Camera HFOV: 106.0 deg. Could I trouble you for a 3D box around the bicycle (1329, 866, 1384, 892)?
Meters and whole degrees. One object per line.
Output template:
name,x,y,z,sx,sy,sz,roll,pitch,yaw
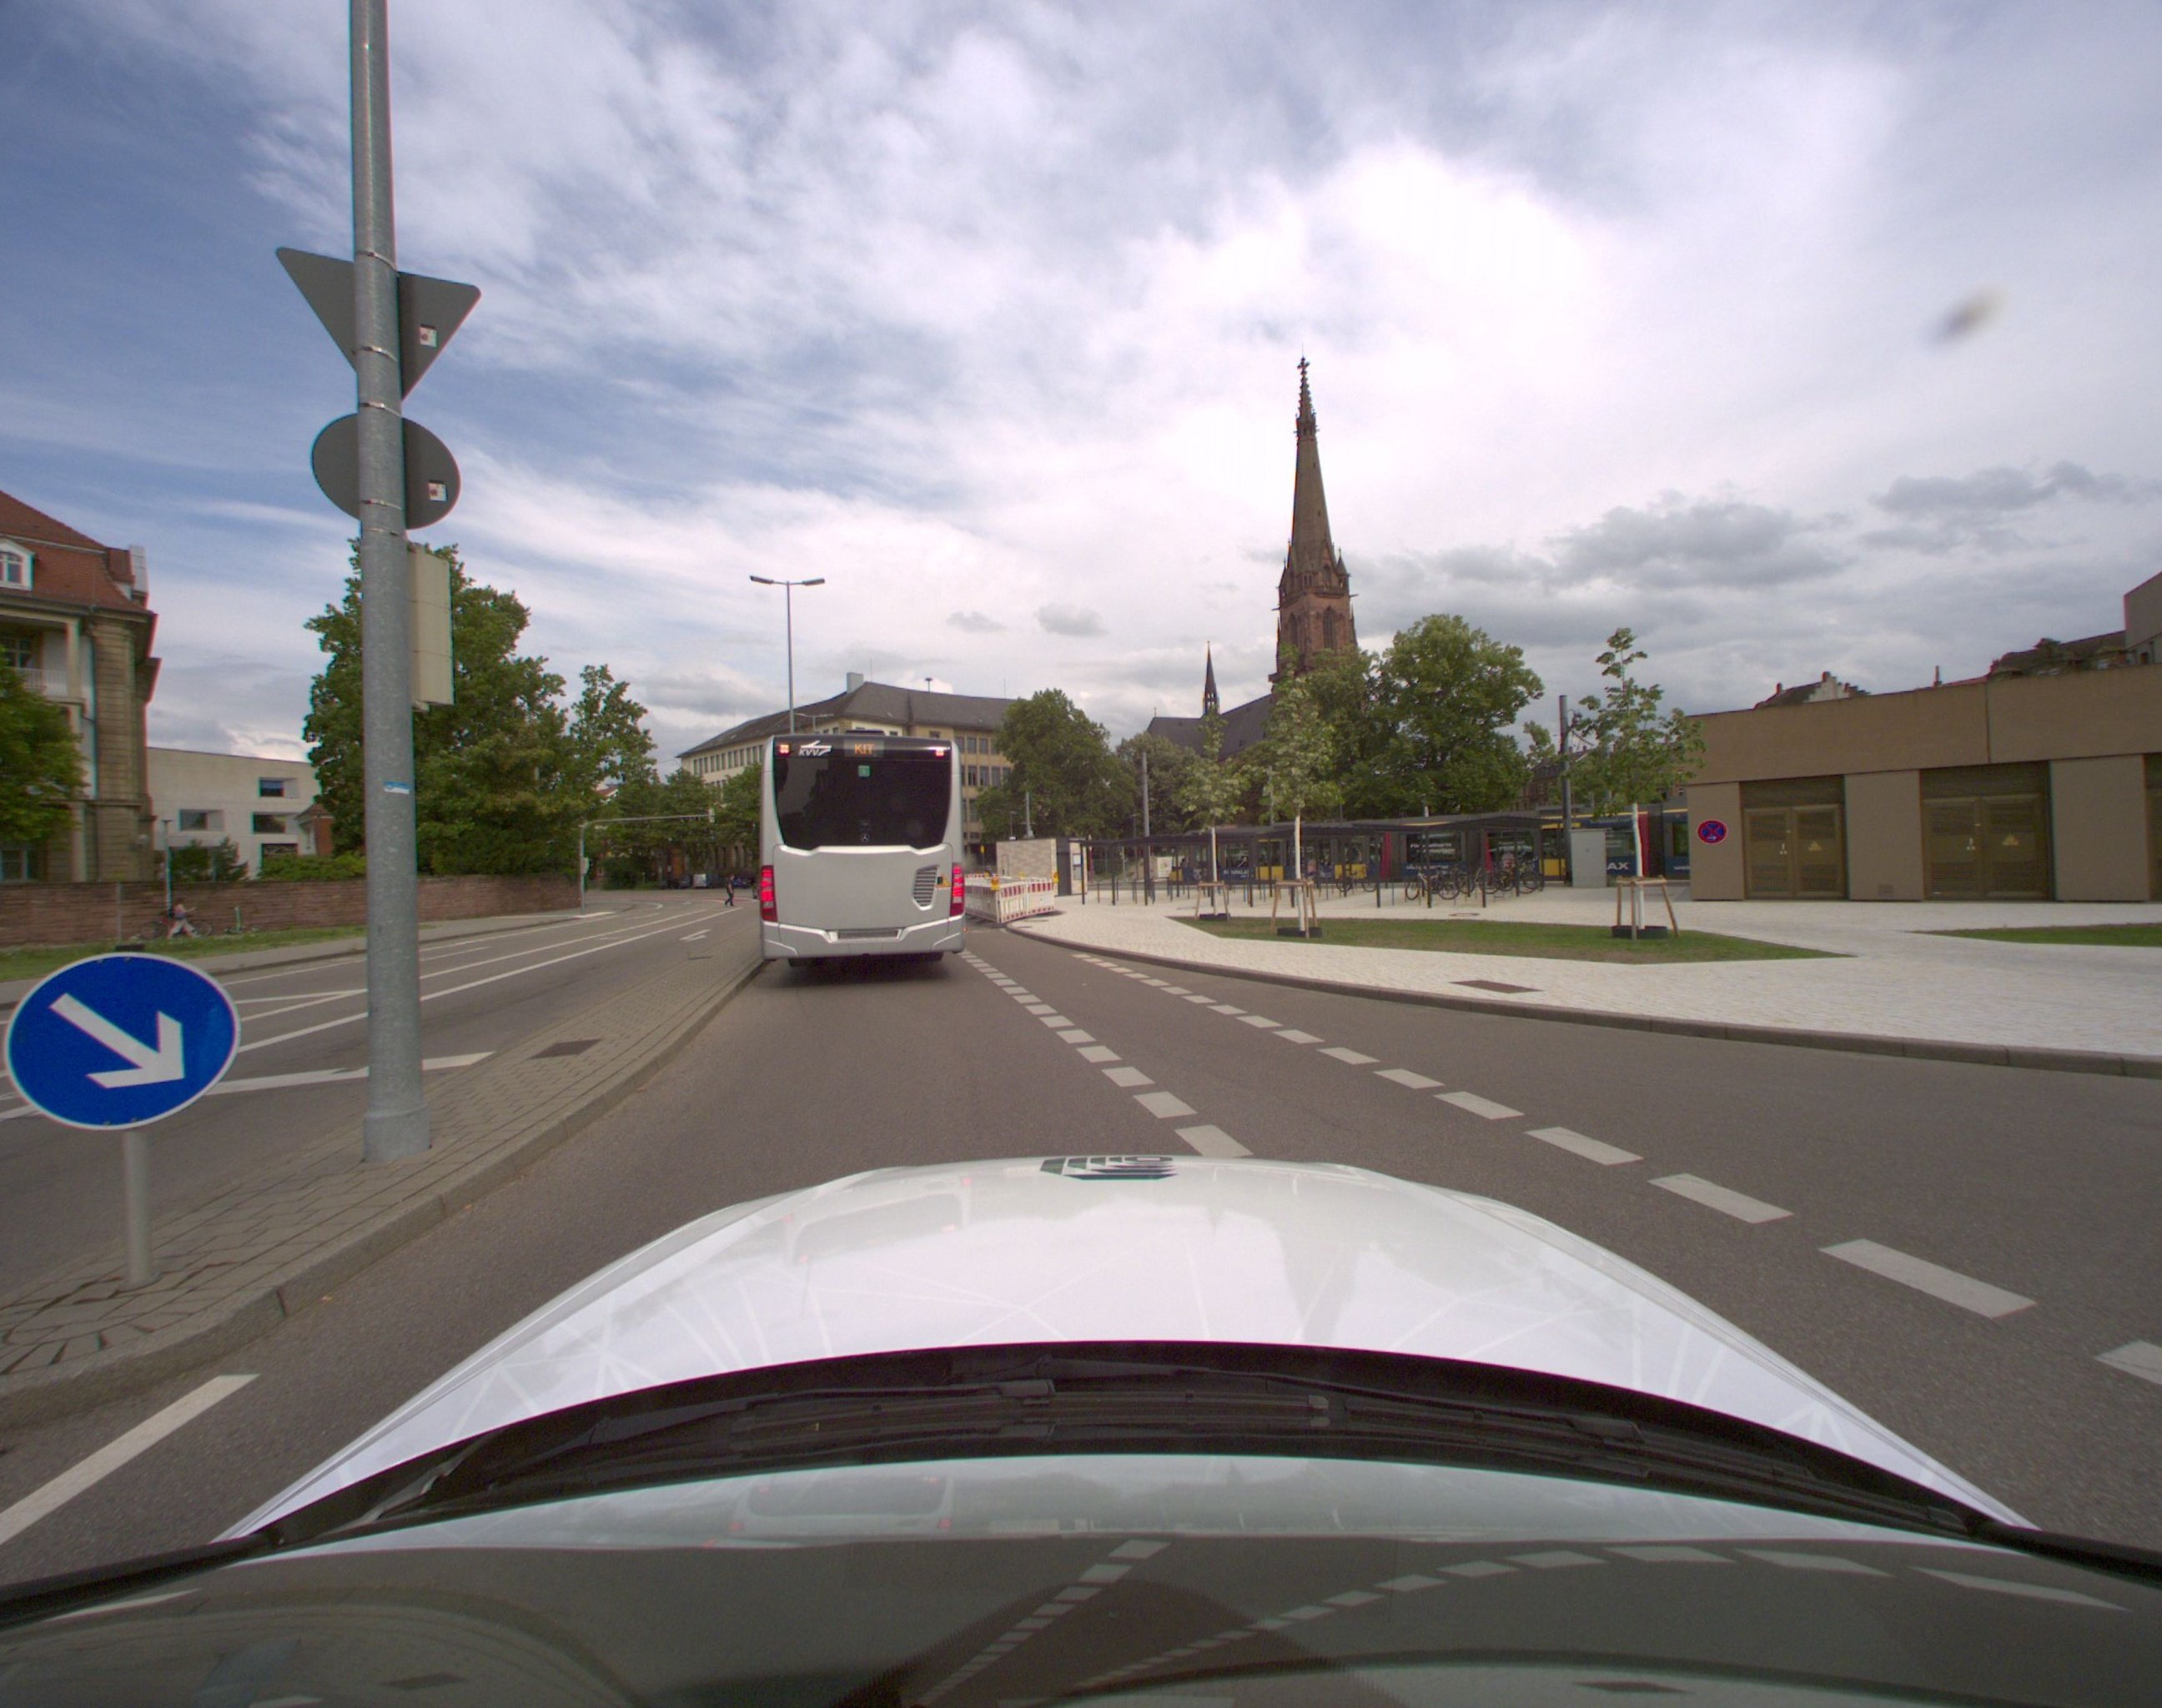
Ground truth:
bicycle,10.863,0.977,32.120,1.941,0.955,0.588,0,2,36

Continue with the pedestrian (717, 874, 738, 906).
pedestrian,-19.420,1.960,44.756,0.797,1.711,0.836,-2,1,-11

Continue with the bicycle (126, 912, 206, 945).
bicycle,-35.387,2.860,31.514,0.769,1.005,1.939,0,2,32

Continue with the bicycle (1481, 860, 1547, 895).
bicycle,14.623,0.783,27.538,1.941,1.156,0.588,0,2,30

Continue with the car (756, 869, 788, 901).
car,-22.327,2.209,58.852,2.002,2.013,3.970,-2,2,-22

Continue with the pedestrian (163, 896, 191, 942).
pedestrian,-34.629,2.475,31.204,0.525,1.654,0.634,0,2,37

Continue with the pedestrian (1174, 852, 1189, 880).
pedestrian,6.617,0.801,53.604,0.820,1.801,0.751,-1,1,-5

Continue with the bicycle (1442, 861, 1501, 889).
bicycle,14.751,0.783,30.805,1.941,0.970,0.588,0,2,36

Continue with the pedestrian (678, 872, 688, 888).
pedestrian,-51.841,3.413,106.155,0.895,2.014,0.997,-1,-1,-42

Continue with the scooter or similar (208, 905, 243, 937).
scooter or similar,-34.676,2.715,33.018,0.521,1.139,1.505,-2,2,-29

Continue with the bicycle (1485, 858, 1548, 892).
bicycle,15.379,0.731,28.793,1.941,1.156,0.588,0,2,30

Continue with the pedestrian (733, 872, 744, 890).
pedestrian,-40.197,3.185,95.568,0.895,2.014,0.997,-1,-1,-42

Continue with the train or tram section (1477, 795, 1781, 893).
train or tram section,21.691,-0.389,32.854,9.802,3.450,3.082,0,2,39

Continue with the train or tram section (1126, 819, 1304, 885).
train or tram section,7.147,-0.161,44.589,9.249,3.277,3.082,0,2,39

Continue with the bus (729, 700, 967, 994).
bus,-4.664,0.100,16.710,2.710,3.438,14.106,-2,-1,-16

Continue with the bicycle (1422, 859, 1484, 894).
bicycle,13.171,0.781,28.828,1.941,1.156,0.588,0,2,30

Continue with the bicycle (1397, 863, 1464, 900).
bicycle,11.418,0.882,26.640,1.941,1.156,0.588,0,2,30

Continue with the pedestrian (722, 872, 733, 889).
pedestrian,-42.442,3.176,97.838,0.895,2.014,0.997,-1,-1,-42

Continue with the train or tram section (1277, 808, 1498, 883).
train or tram section,14.337,-0.410,38.742,9.309,3.212,3.082,0,2,39

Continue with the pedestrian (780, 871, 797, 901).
pedestrian,-17.408,1.911,48.528,0.797,1.711,0.836,-2,1,-11

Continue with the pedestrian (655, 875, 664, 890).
pedestrian,-56.745,3.873,109.665,0.895,2.014,0.997,-1,-1,-42
